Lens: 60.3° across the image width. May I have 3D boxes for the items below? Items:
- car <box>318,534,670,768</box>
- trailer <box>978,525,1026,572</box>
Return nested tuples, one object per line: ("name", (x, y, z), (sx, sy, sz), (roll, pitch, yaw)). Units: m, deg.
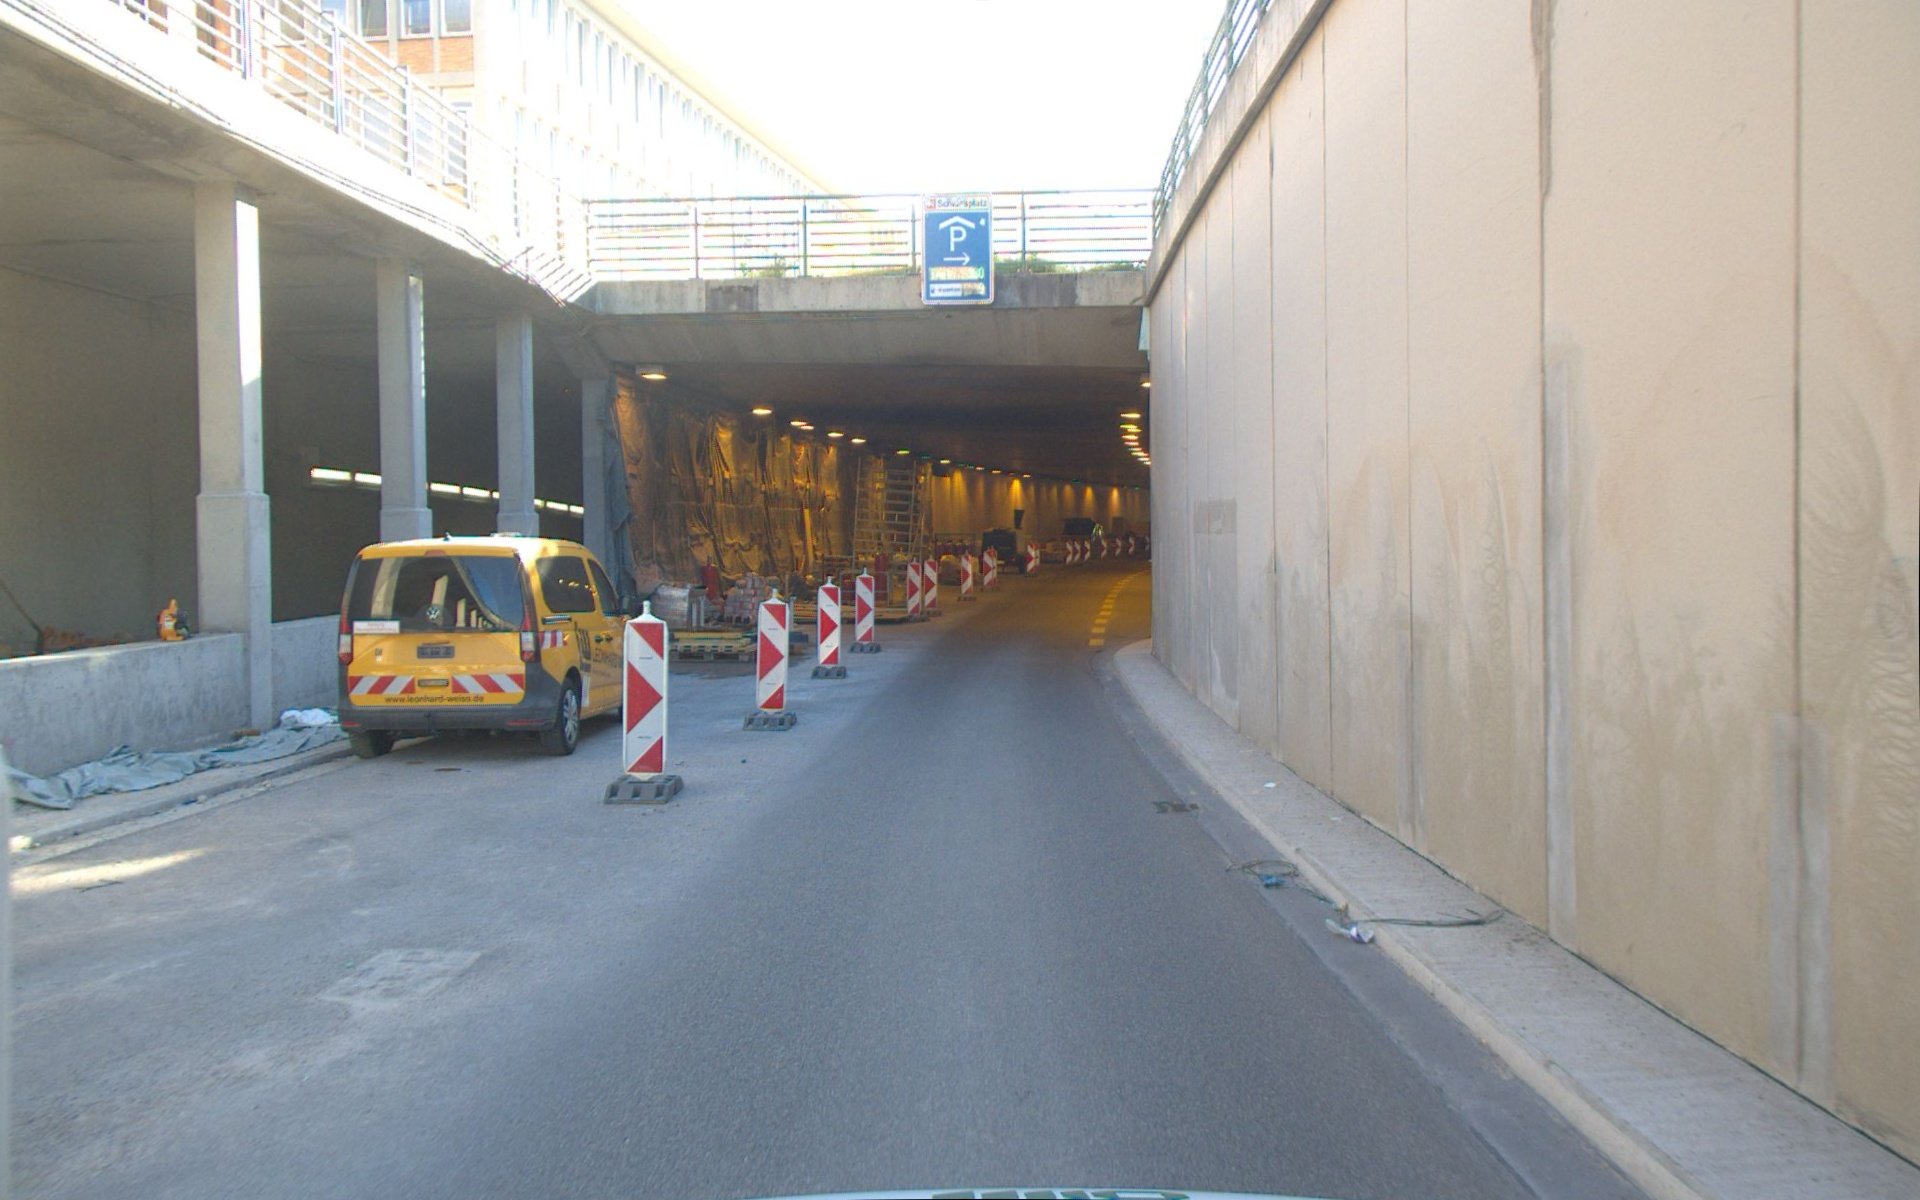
("car", (-3.985, 0.320, 14.979), (1.810, 1.806, 4.436), (0, 2, 2))
("trailer", (1.675, -2.055, 65.502), (1.547, 1.829, 2.942), (1, 2, 8))
